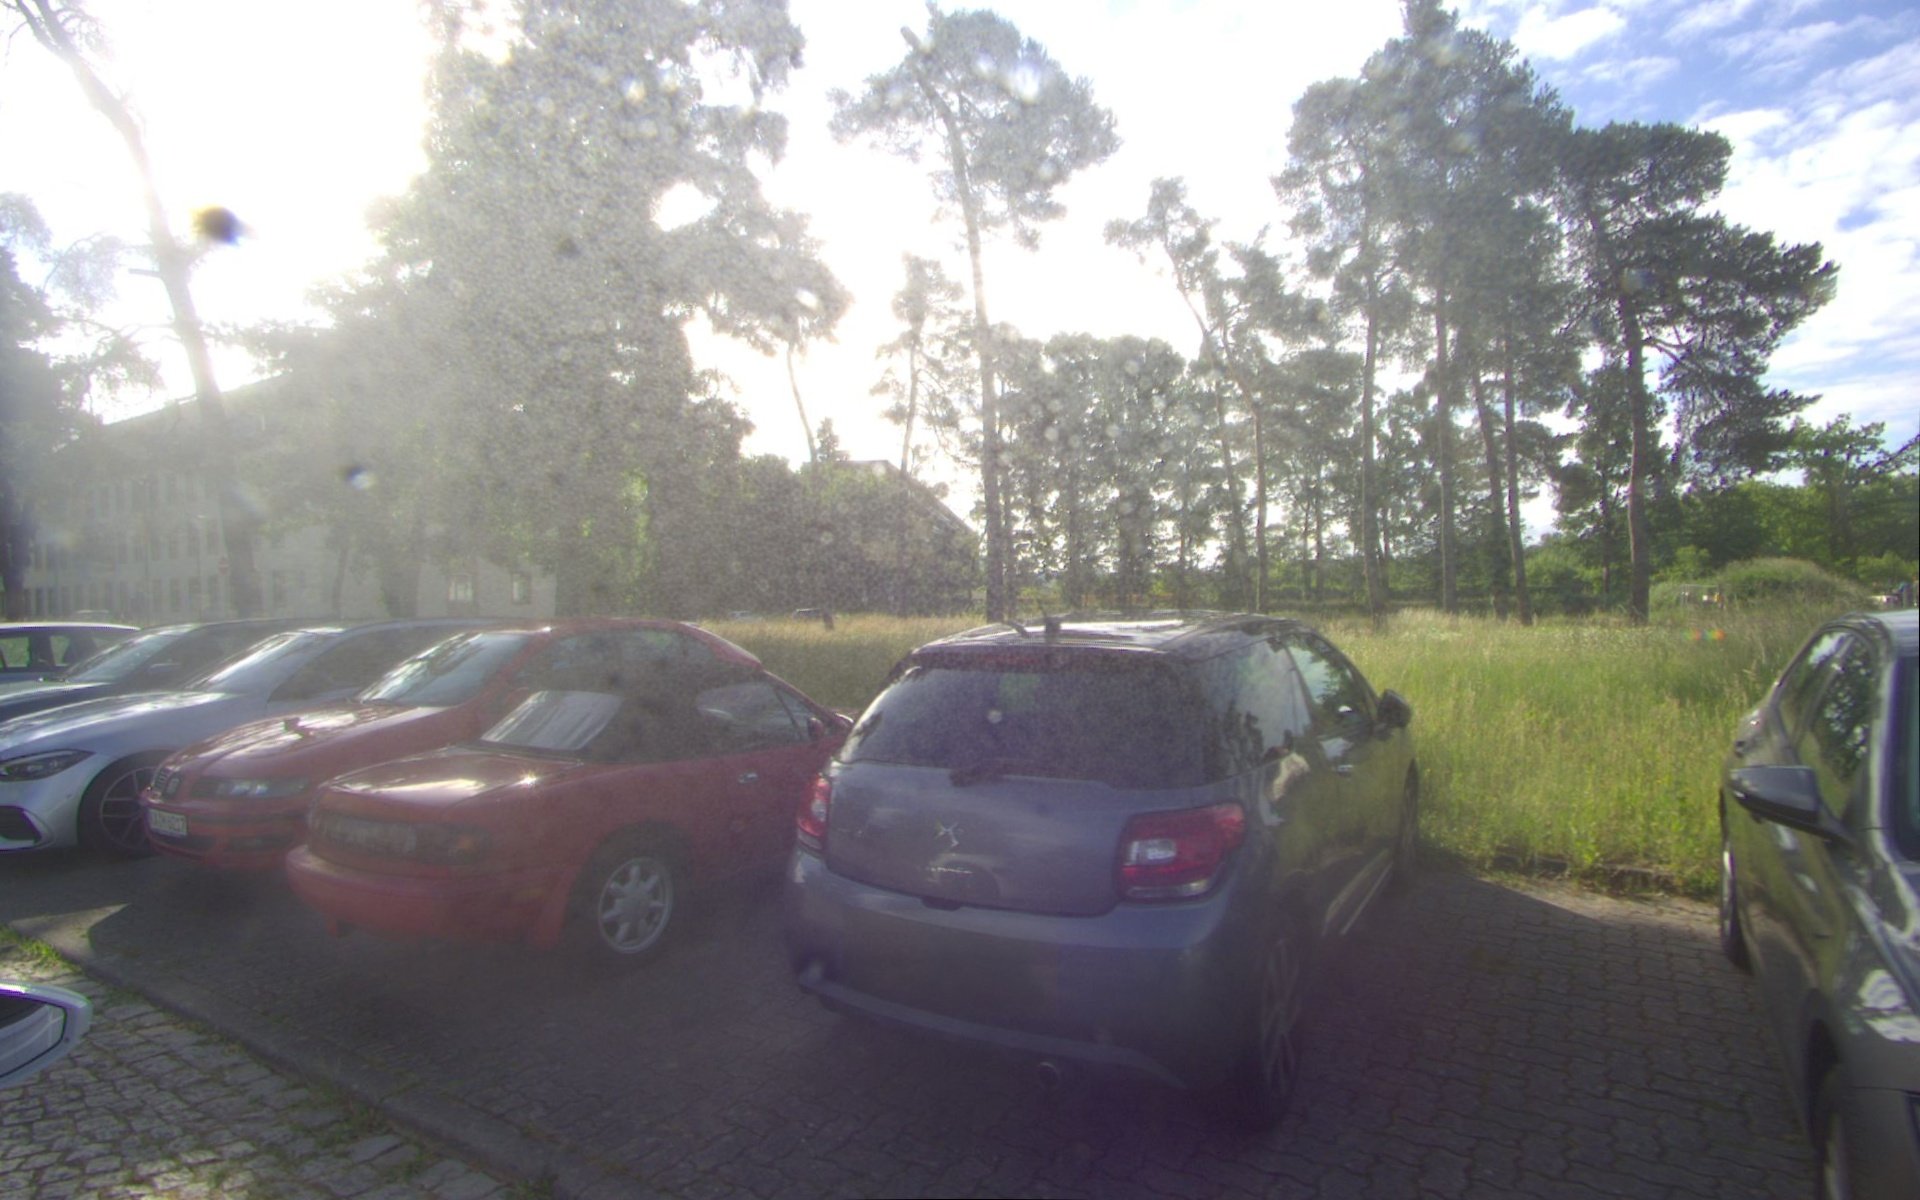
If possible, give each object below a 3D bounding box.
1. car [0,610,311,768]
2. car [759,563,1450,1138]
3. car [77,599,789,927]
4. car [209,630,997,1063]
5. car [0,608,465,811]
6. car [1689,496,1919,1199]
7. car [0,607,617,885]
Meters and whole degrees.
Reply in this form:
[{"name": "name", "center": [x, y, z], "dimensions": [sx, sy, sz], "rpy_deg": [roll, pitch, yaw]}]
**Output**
[{"name": "car", "center": [-9.591, 0.898, 10.928], "dimensions": [1.613, 1.434, 3.872], "rpy_deg": [0, 2, 33]}, {"name": "car", "center": [1.045, 0.592, 4.586], "dimensions": [1.790, 1.469, 3.698], "rpy_deg": [0, 2, 32]}, {"name": "car", "center": [-3.210, 0.791, 6.993], "dimensions": [1.613, 1.469, 4.116], "rpy_deg": [0, 2, 33]}, {"name": "car", "center": [-1.482, 0.891, 5.380], "dimensions": [1.722, 1.240, 3.697], "rpy_deg": [0, 2, 33]}, {"name": "car", "center": [-7.314, 0.881, 9.434], "dimensions": [1.613, 1.434, 4.547], "rpy_deg": [0, 2, 33]}, {"name": "car", "center": [2.930, 0.544, 2.267], "dimensions": [1.830, 1.469, 3.697], "rpy_deg": [0, 2, 33]}, {"name": "car", "center": [-5.120, 0.855, 7.894], "dimensions": [1.755, 1.434, 4.420], "rpy_deg": [0, 2, 33]}]
